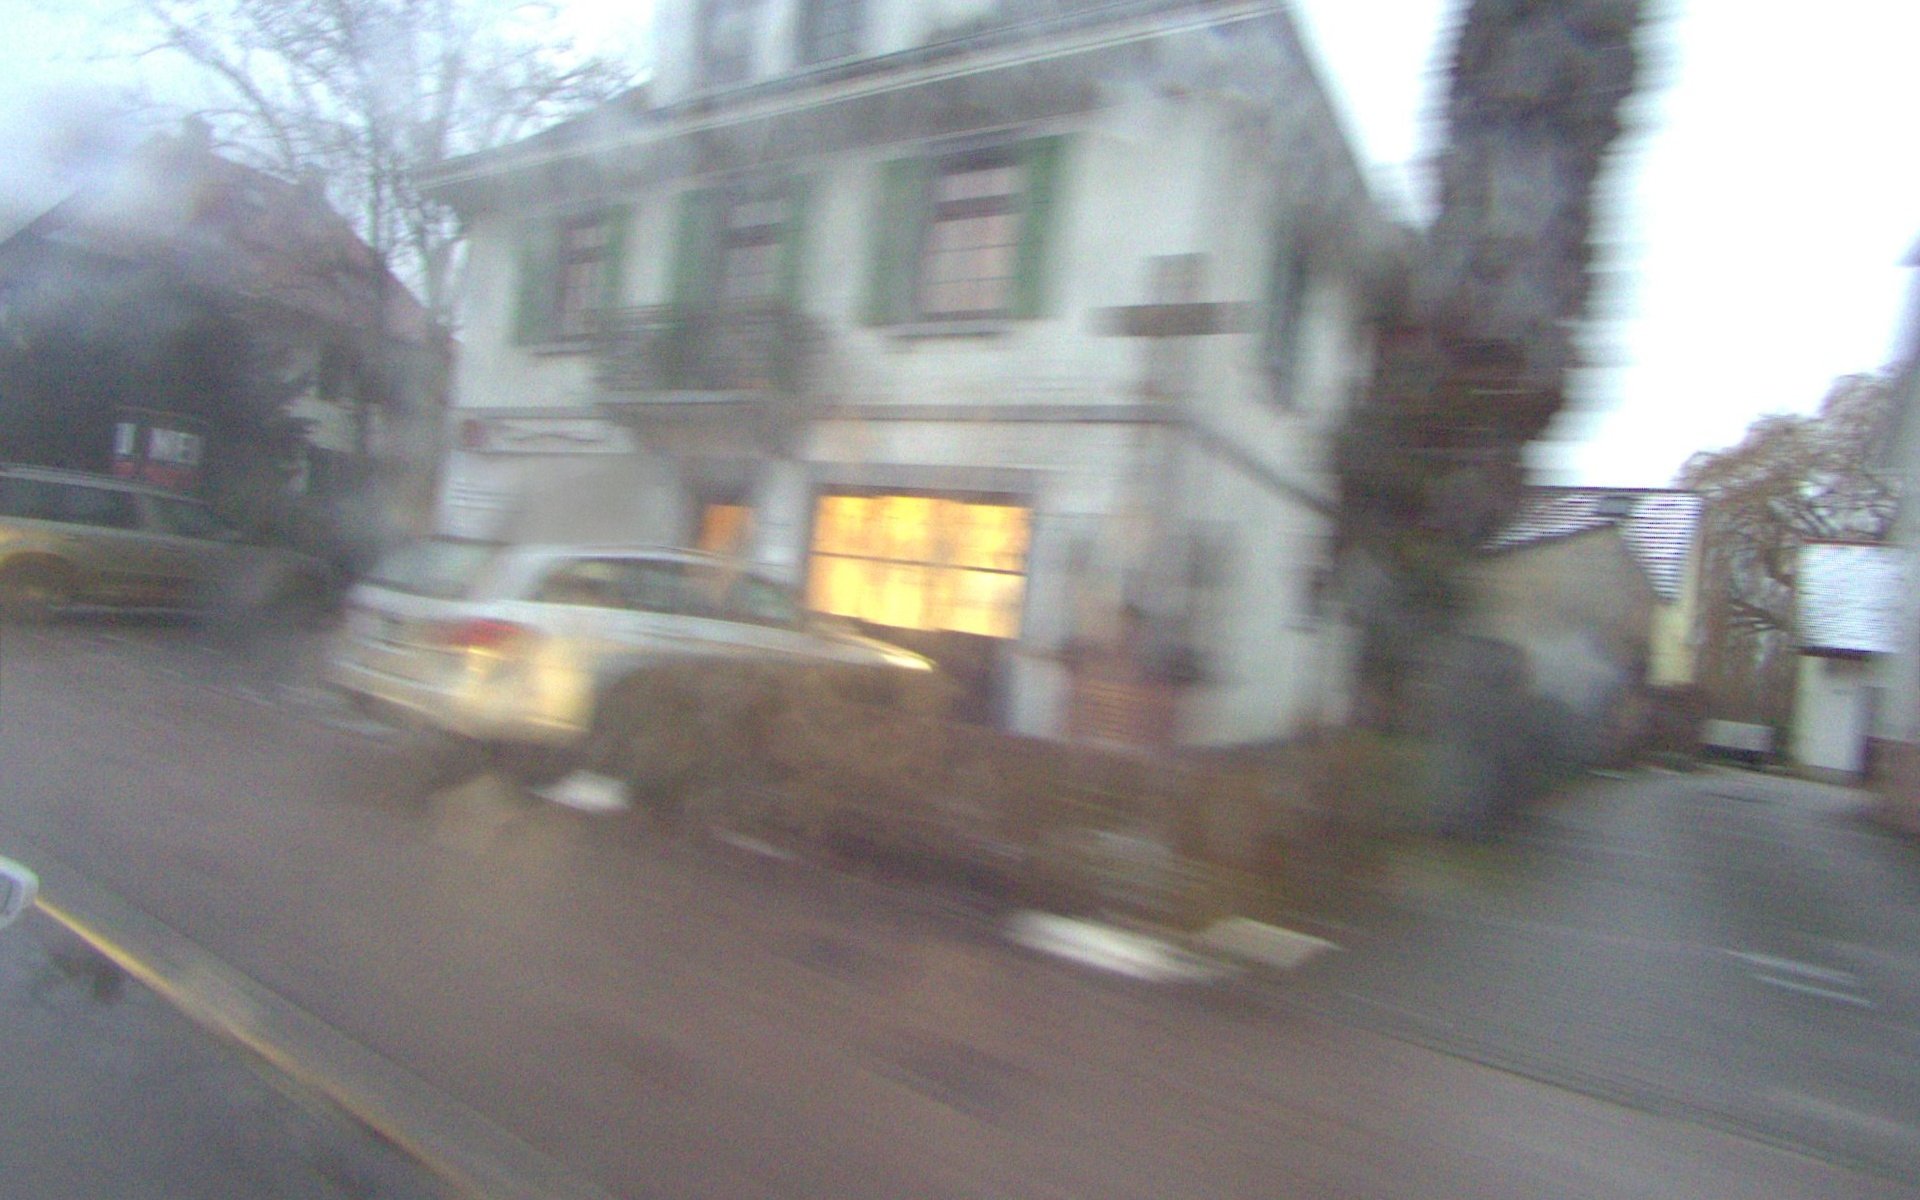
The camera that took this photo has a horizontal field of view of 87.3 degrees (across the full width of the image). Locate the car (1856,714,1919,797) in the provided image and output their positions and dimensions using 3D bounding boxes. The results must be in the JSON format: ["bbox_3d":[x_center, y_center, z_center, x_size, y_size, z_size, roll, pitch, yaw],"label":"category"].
[{"bbox_3d":[21.861,3.576,22.858,1.783,1.681,4.011,6,-2,37],"label":"car"}]

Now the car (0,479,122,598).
[{"bbox_3d":[-15.244,-1.119,15.755,4.678,1.573,1.895,7,0,33],"label":"car"}]

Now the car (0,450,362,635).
[{"bbox_3d":[-9.970,-0.640,12.221,1.967,1.726,4.107,6,-1,32],"label":"car"}]

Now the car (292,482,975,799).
[{"bbox_3d":[-2.109,0.277,7.815,1.878,1.651,4.729,7,2,38],"label":"car"}]
